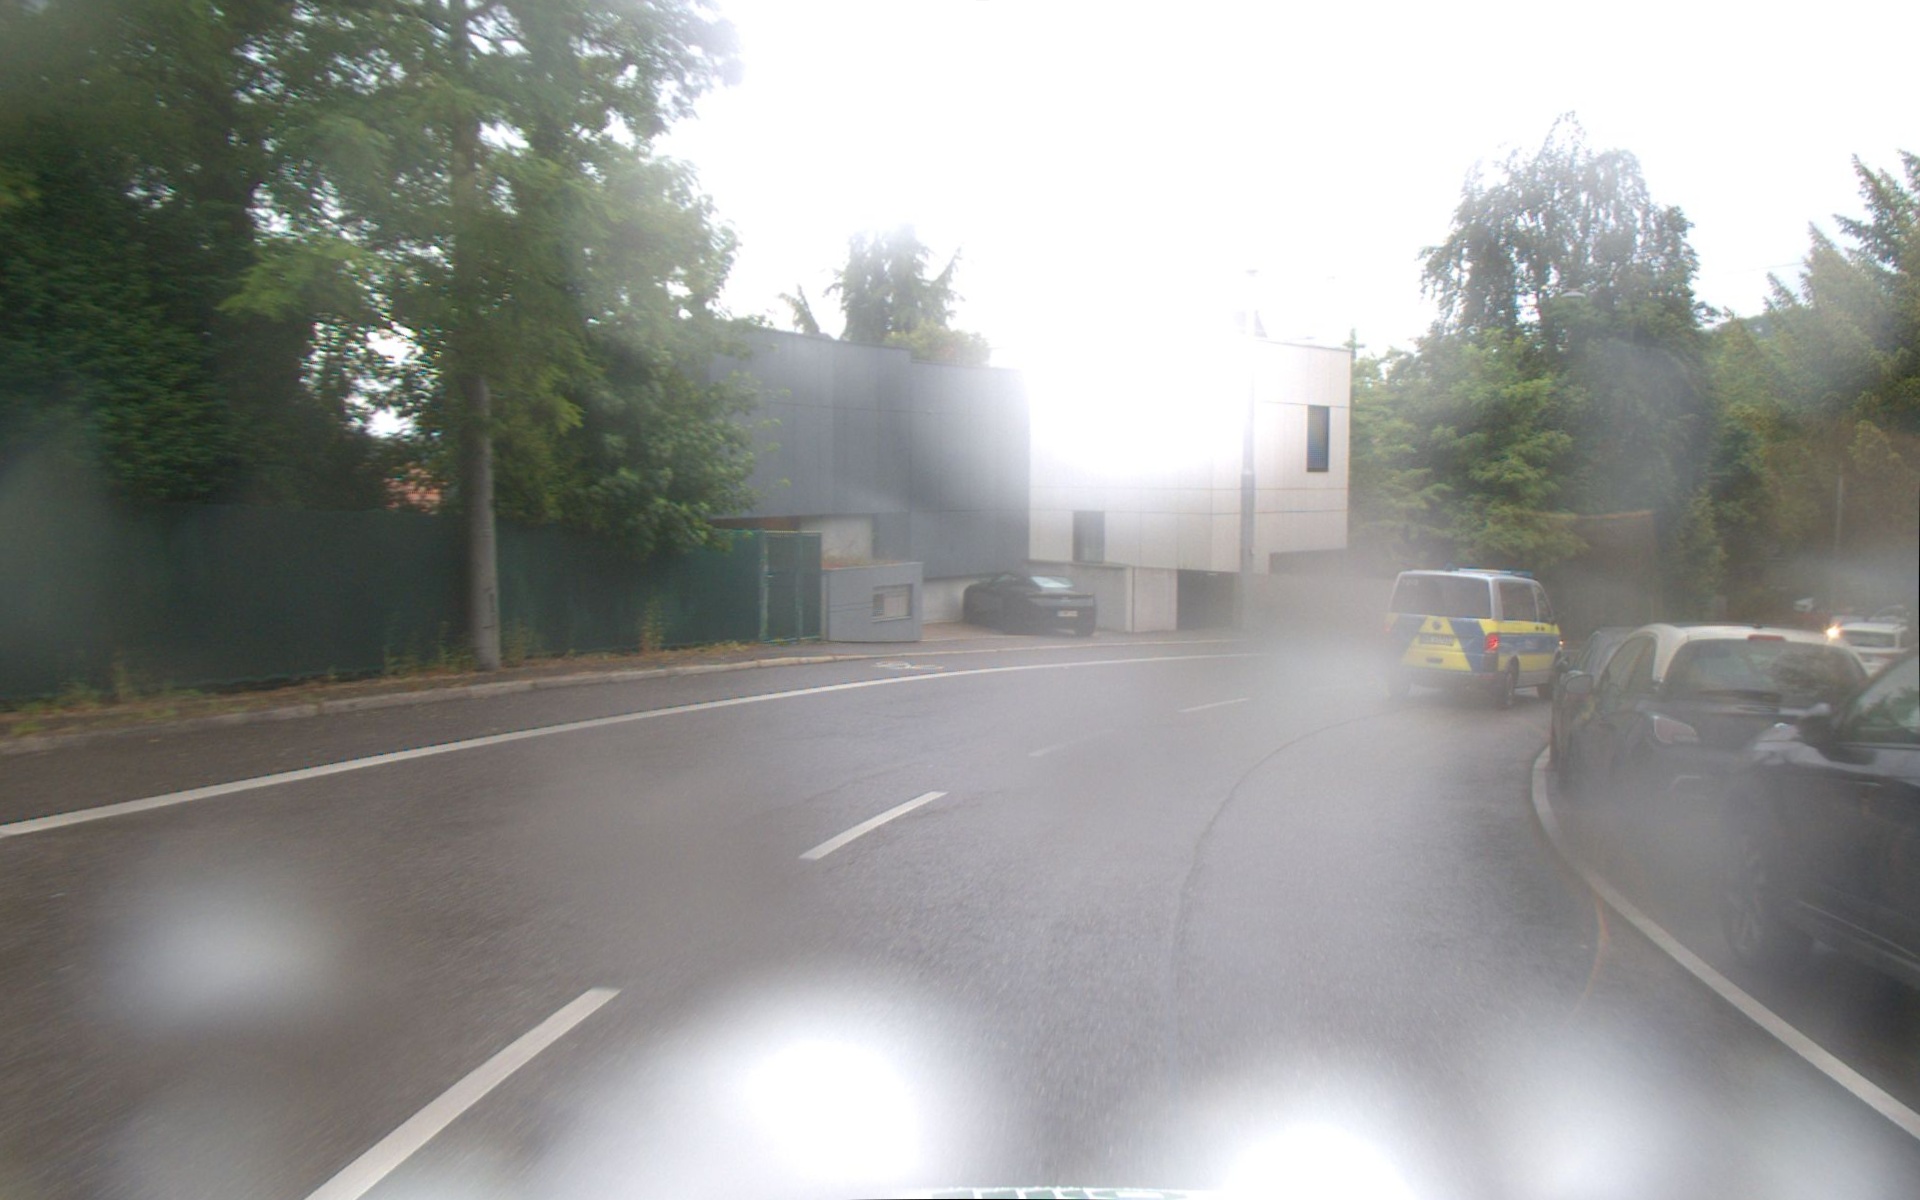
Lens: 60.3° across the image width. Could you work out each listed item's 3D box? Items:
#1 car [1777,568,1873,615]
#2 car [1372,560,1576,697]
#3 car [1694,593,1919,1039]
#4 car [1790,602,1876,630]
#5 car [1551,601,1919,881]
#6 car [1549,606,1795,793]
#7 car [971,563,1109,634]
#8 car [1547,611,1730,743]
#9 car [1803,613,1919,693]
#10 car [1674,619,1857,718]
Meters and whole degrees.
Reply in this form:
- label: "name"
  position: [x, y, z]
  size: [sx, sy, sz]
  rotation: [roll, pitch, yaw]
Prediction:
- label: "car"
  position: [50.226, -0.524, 96.111]
  size: [4.307, 1.872, 2.002]
  rotation: [-11, 1, 12]
- label: "car"
  position: [8.183, 0.445, 26.040]
  size: [1.958, 1.926, 4.558]
  rotation: [1, -1, 32]
- label: "car"
  position: [4.114, 0.725, 5.876]
  size: [1.678, 1.460, 4.072]
  rotation: [-2, 0, 8]
- label: "car"
  position: [47.596, 0.858, 90.227]
  size: [1.751, 1.391, 4.177]
  rotation: [-2, 0, -16]
- label: "car"
  position: [5.099, 0.805, 11.163]
  size: [1.646, 1.497, 3.742]
  rotation: [-2, 0, 13]
- label: "car"
  position: [6.566, 0.807, 15.665]
  size: [1.769, 1.460, 4.533]
  rotation: [0, 0, 19]
- label: "car"
  position: [1.646, -0.065, 35.489]
  size: [1.859, 1.323, 3.987]
  rotation: [2, 2, -14]
- label: "car"
  position: [8.356, 0.841, 20.141]
  size: [1.772, 1.371, 4.615]
  rotation: [0, 0, 26]
- label: "car"
  position: [19.423, 1.077, 35.042]
  size: [1.780, 1.480, 4.229]
  rotation: [3, 2, 41]
- label: "car"
  position: [13.626, 1.087, 27.843]
  size: [1.752, 1.460, 4.545]
  rotation: [0, 0, 40]
